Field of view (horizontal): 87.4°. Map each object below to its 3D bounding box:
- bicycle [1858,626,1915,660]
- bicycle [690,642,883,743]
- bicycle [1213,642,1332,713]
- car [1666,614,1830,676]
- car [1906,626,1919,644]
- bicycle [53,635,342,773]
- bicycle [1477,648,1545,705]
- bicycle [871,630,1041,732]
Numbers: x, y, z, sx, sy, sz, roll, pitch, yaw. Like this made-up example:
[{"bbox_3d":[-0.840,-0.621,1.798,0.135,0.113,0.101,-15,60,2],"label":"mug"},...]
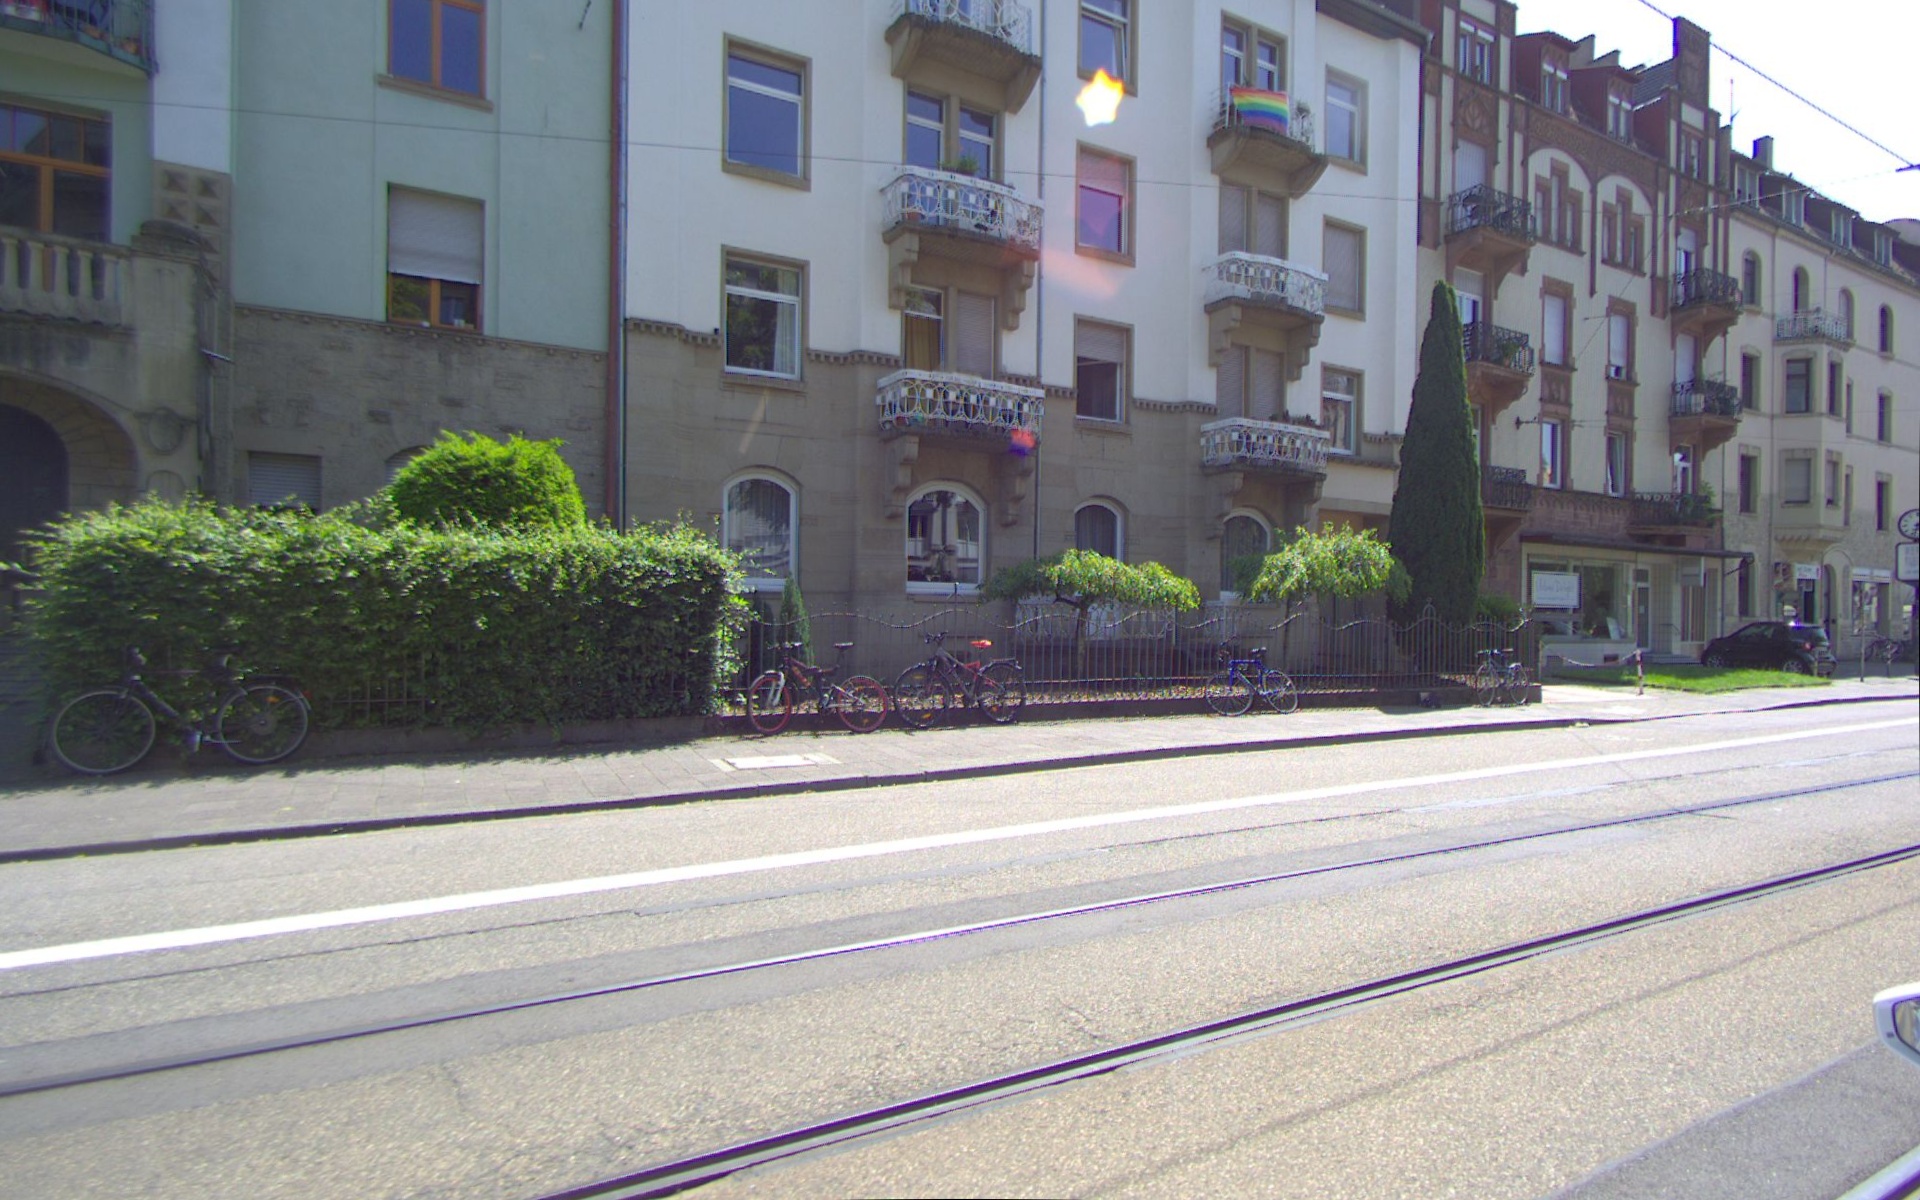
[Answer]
[{"bbox_3d":[35.570,1.656,38.555,2.043,1.241,0.454,2,0,-11],"label":"bicycle"},{"bbox_3d":[-1.821,0.953,10.737,2.023,0.983,0.397,1,0,-31],"label":"bicycle"},{"bbox_3d":[4.554,1.098,14.574,1.931,0.961,0.459,1,0,-31],"label":"bicycle"},{"bbox_3d":[22.525,1.253,28.839,1.509,1.491,3.343,2,2,-25],"label":"car"},{"bbox_3d":[79.196,2.912,81.273,1.512,1.461,3.738,2,0,-5],"label":"car"},{"bbox_3d":[-6.292,0.840,8.403,1.877,1.060,0.288,2,0,-31],"label":"bicycle"},{"bbox_3d":[9.590,1.314,17.469,1.595,0.929,0.251,1,0,-31],"label":"bicycle"},{"bbox_3d":[-0.024,0.918,11.835,2.023,1.111,0.490,1,0,-31],"label":"bicycle"}]
